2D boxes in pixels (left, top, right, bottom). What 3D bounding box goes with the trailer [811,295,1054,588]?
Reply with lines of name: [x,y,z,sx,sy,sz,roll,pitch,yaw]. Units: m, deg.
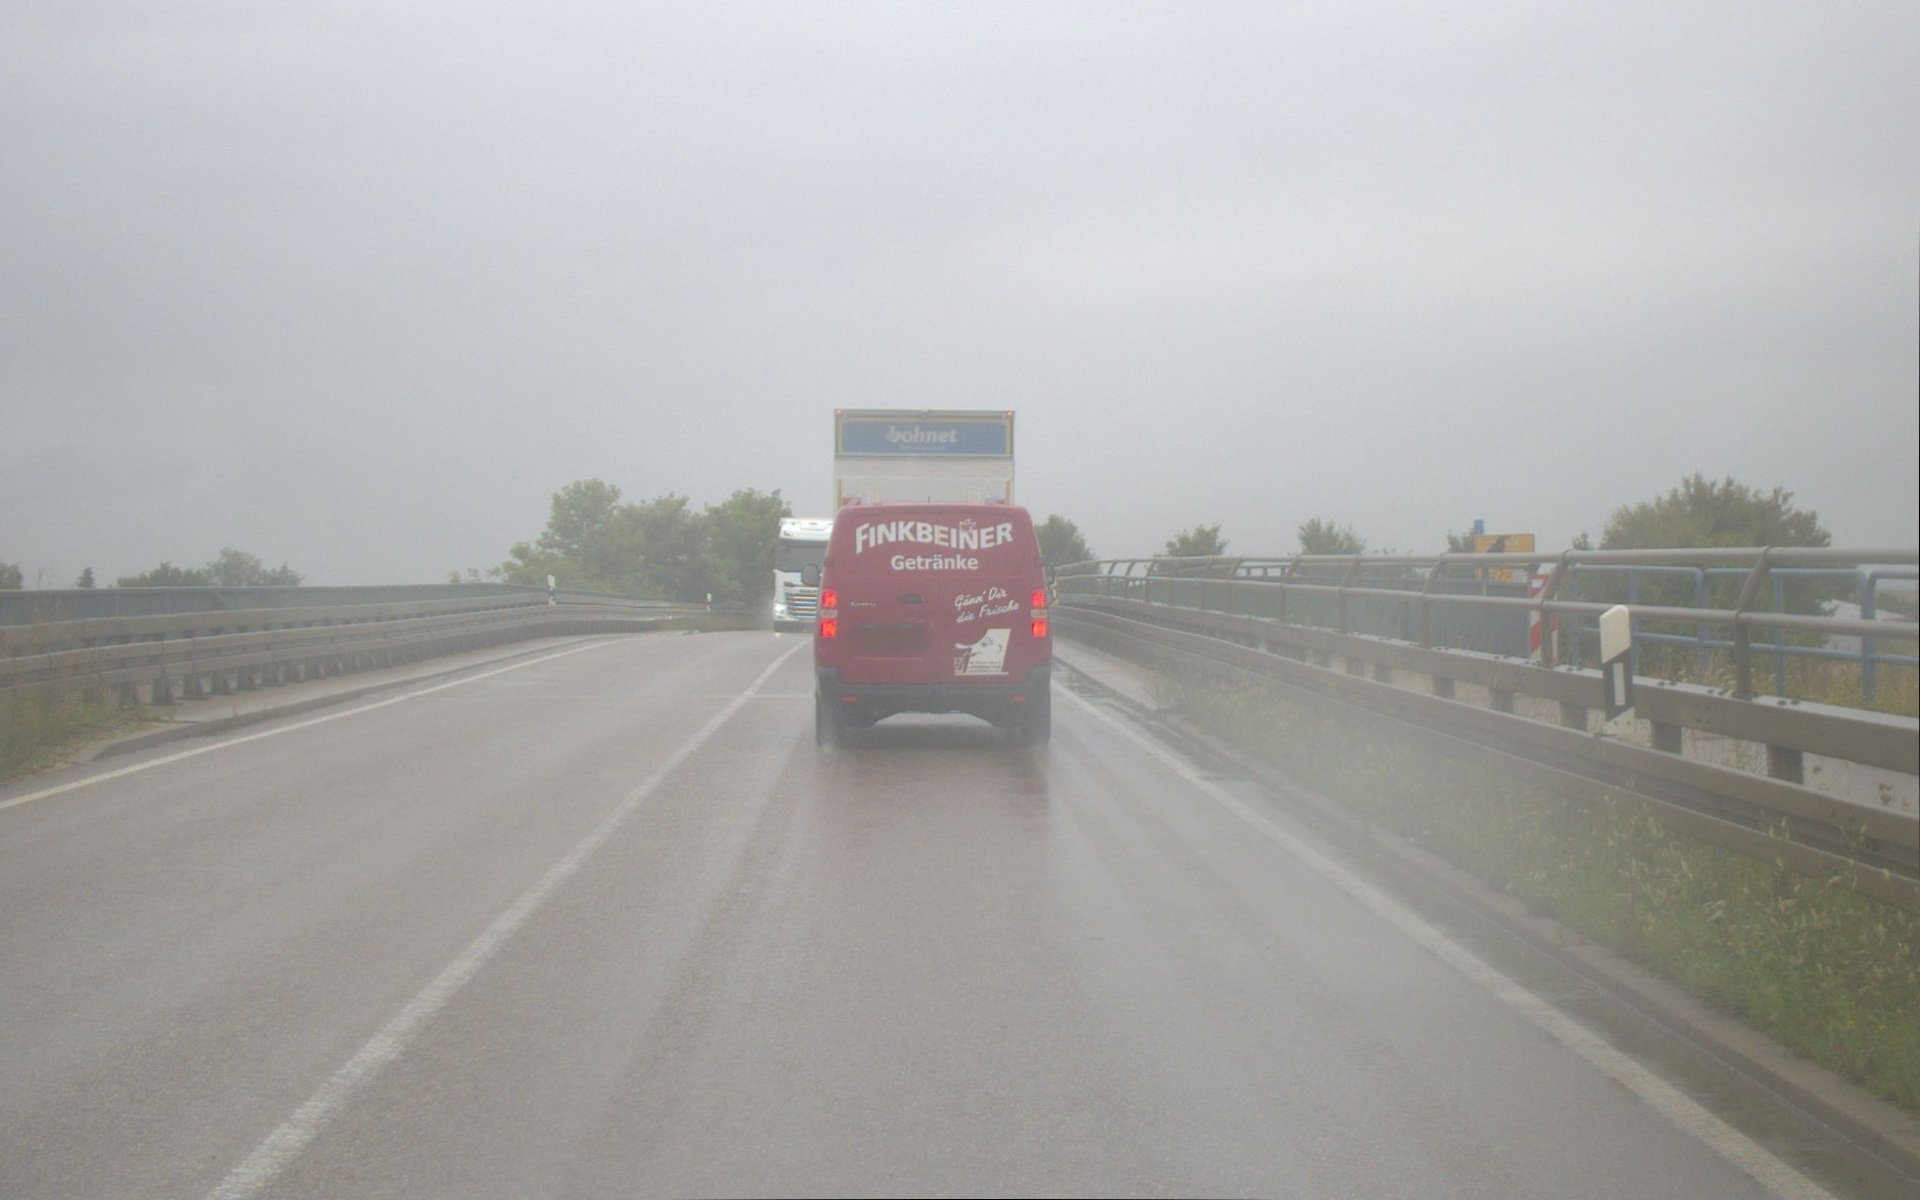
trailer: [-0.355,-2.218,52.156,3.201,3.908,8.739,3,0,0]

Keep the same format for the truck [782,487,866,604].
truck: [-4.730,-1.887,120.530,2.817,3.956,8.764,0,1,-2]

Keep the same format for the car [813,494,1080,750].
car: [-0.168,0.120,28.153,1.993,1.919,4.144,1,1,-2]
